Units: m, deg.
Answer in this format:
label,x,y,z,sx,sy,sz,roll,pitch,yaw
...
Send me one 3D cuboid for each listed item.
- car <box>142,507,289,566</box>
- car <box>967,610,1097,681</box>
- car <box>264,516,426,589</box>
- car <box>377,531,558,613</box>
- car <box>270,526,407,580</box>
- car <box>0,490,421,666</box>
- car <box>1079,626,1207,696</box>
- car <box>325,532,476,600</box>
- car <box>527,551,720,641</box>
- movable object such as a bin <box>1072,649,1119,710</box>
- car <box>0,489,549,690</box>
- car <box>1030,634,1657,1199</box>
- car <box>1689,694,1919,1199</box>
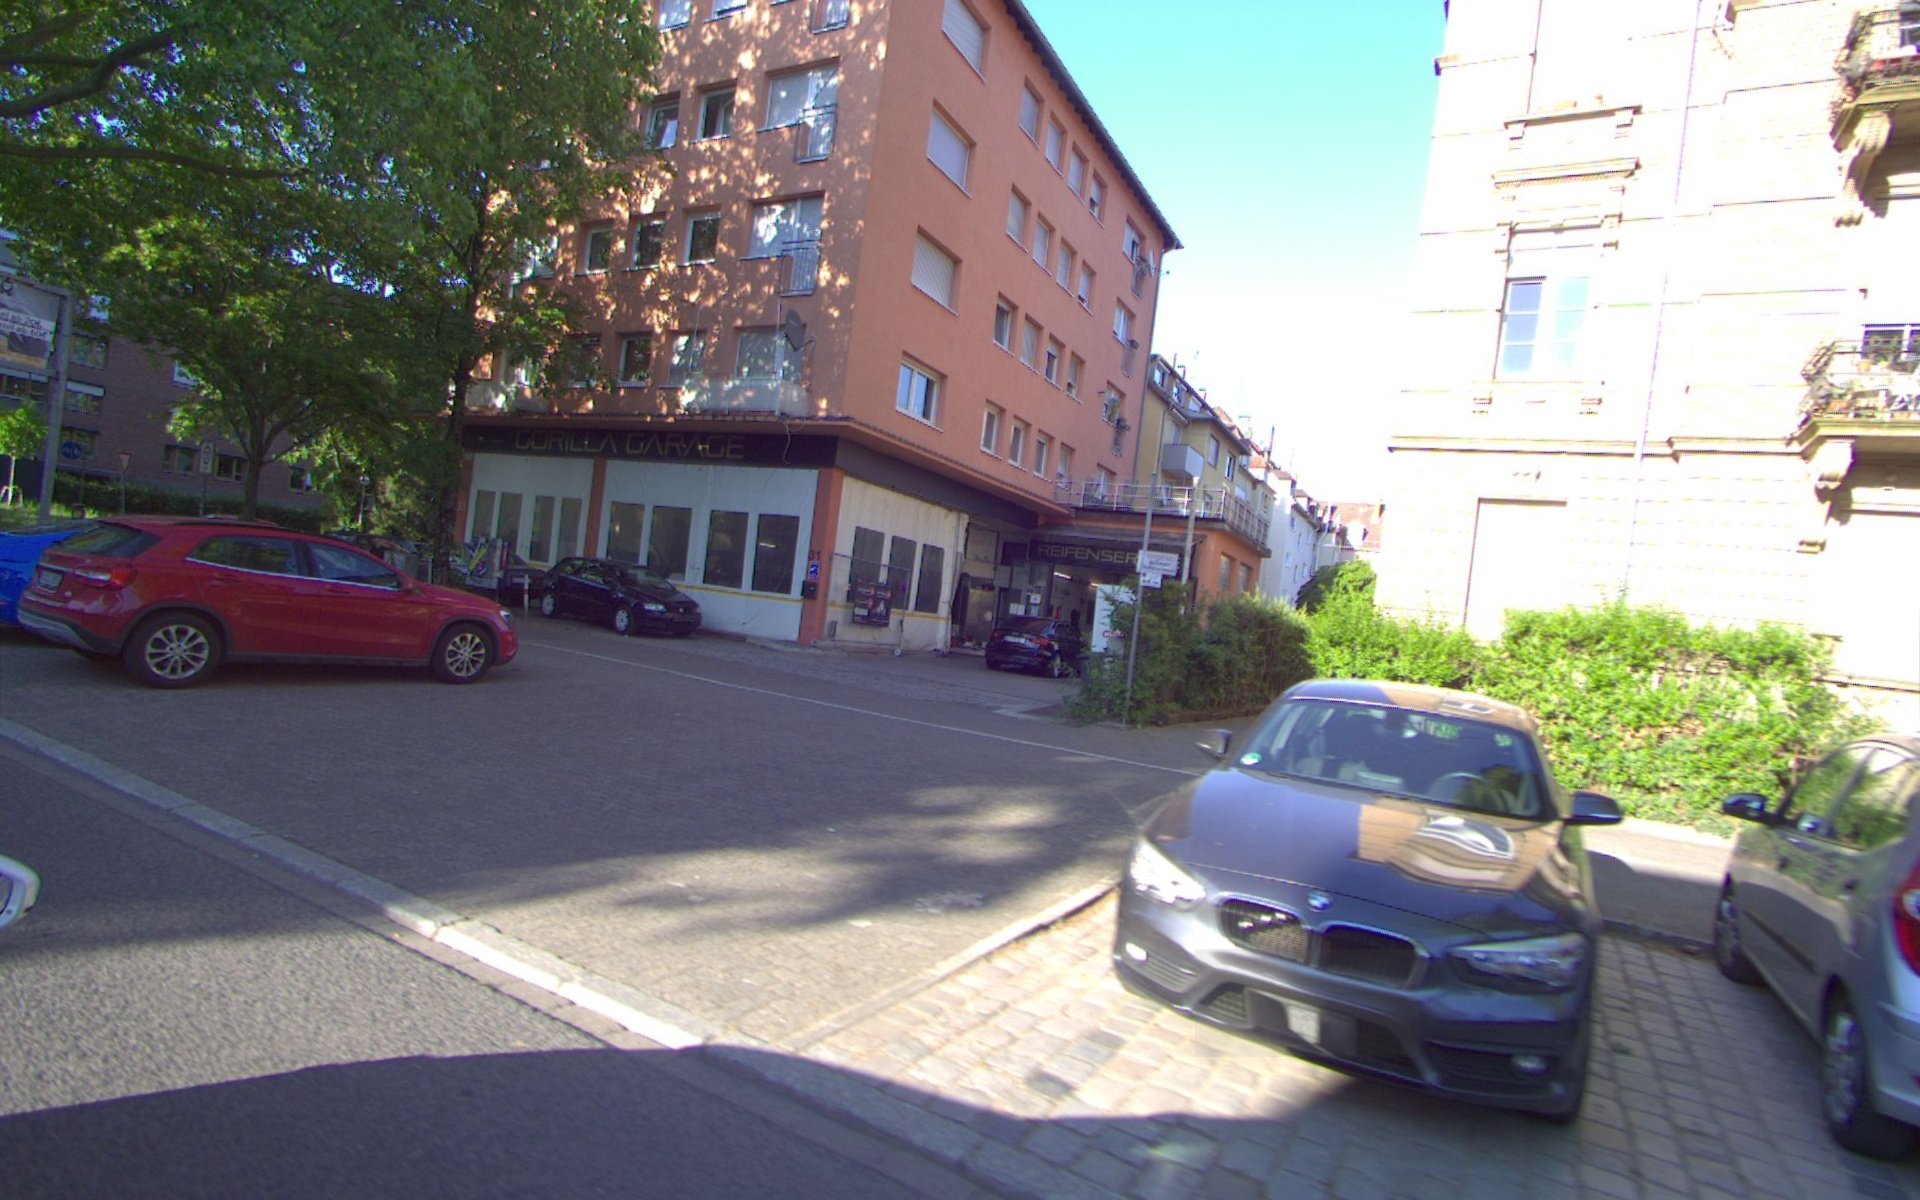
label,x,y,z,sx,sy,sz,roll,pitch,yaw
car,-25.113,-2.108,34.041,1.654,1.470,3.544,7,0,28
car,1.890,1.138,25.065,1.907,1.407,3.998,7,0,23
car,-18.139,-1.395,29.651,4.496,1.594,1.793,7,0,25
car,-11.995,-0.691,24.410,4.393,1.453,1.751,7,0,31
car,-22.934,-1.718,37.283,1.654,1.470,3.925,7,0,28
car,-8.914,-0.206,11.517,1.790,1.561,4.402,7,-1,37
car,4.554,1.493,24.523,1.909,1.343,3.996,7,0,27
car,-17.824,-1.083,32.017,4.496,1.594,1.793,7,0,25
car,-7.285,-0.092,21.728,3.884,1.453,1.751,7,0,31
movable object such as a bin,2.263,1.328,16.771,0.440,0.951,0.657,6,0,35
car,-6.902,0.025,10.530,1.920,1.561,4.408,7,-1,33
car,2.147,1.094,5.113,1.787,1.465,4.207,7,-1,30
car,4.720,1.351,4.628,1.788,1.574,4.204,7,-1,33
